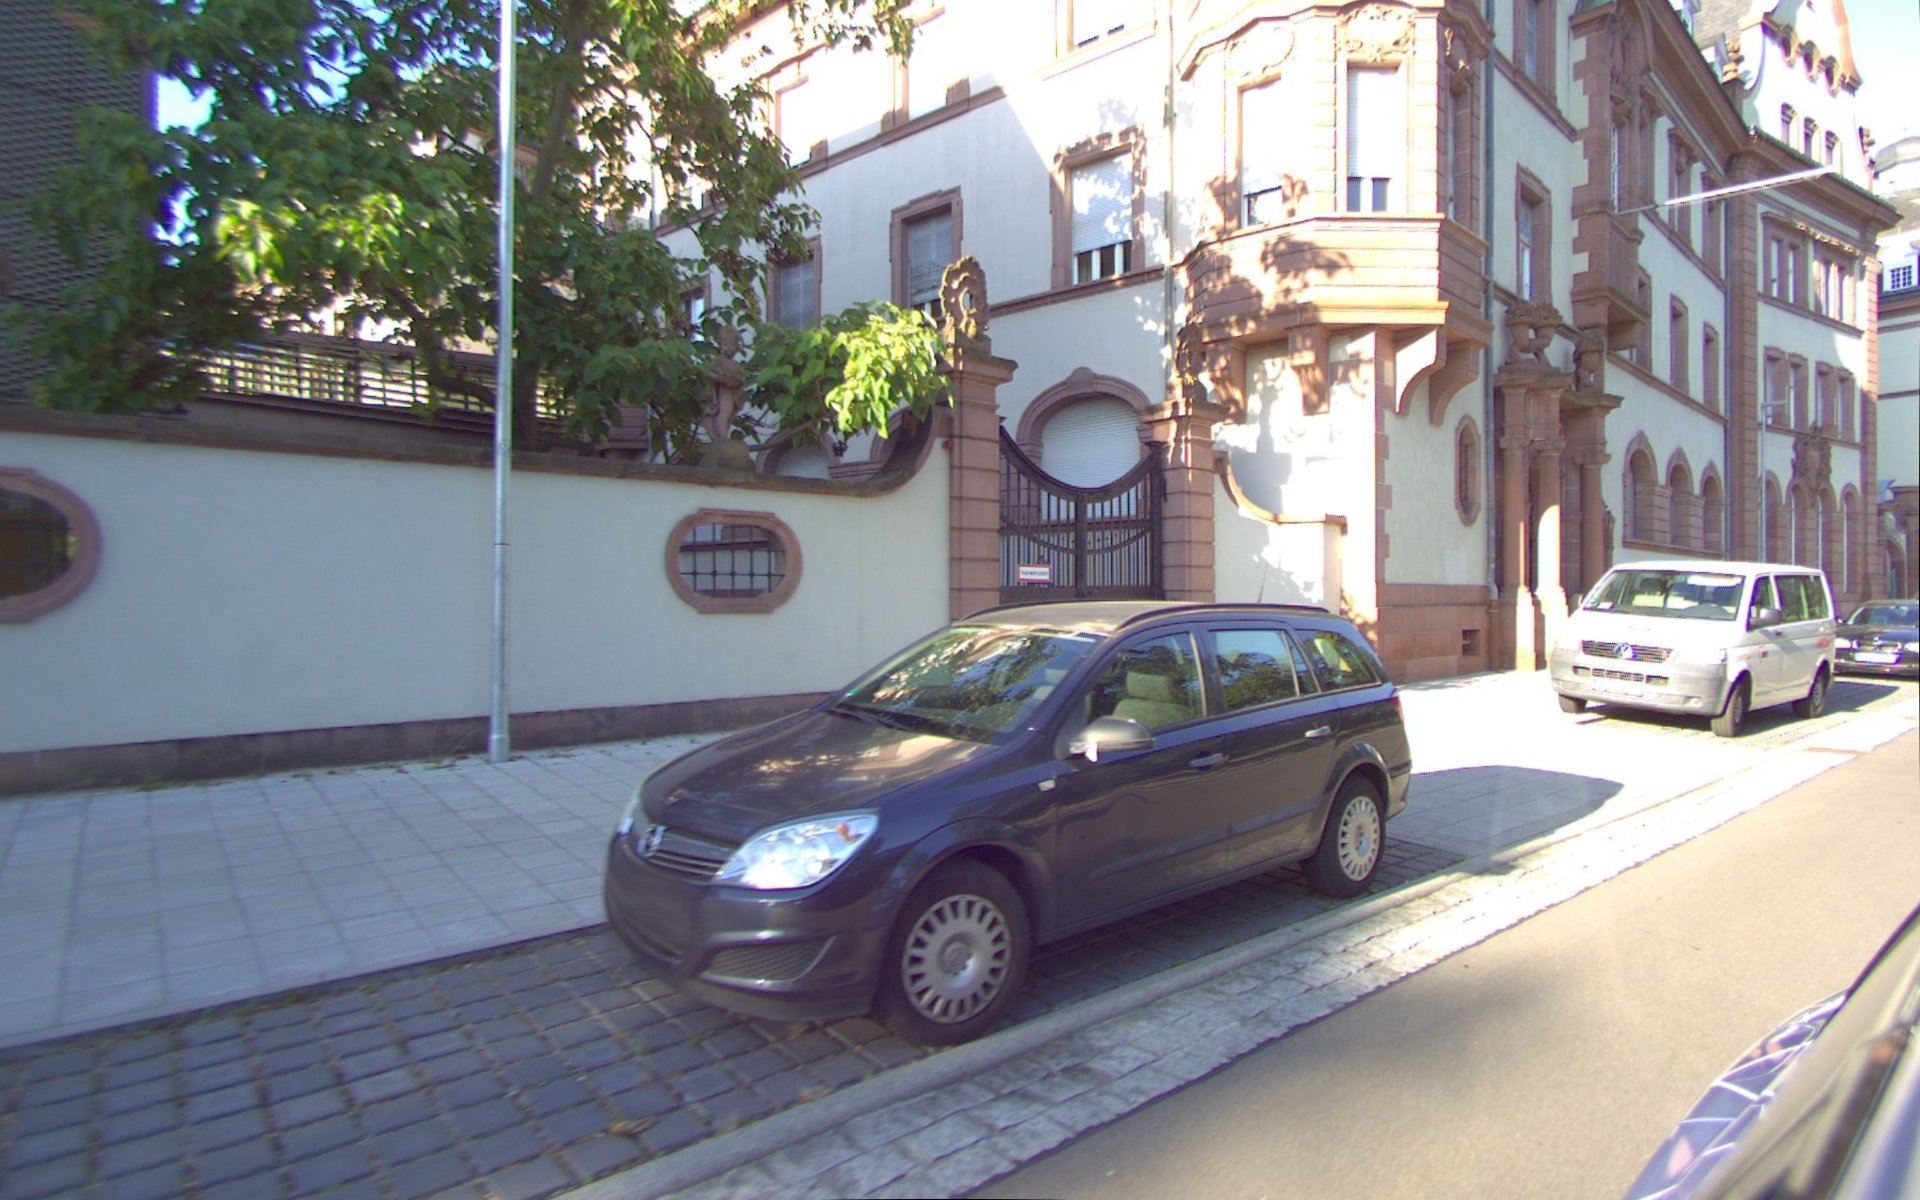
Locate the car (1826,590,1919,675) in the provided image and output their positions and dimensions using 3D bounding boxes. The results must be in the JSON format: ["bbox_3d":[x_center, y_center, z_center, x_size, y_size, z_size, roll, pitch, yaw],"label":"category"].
[{"bbox_3d":[17.862,0.544,18.915,4.122,1.420,1.684,-1,2,-37],"label":"car"}]

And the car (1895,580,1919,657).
[{"bbox_3d":[22.164,0.385,22.194,4.117,1.622,1.820,-1,2,-39],"label":"car"}]

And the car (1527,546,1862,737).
[{"bbox_3d":[9.384,0.401,12.802,4.758,1.990,2.000,0,3,-36],"label":"car"}]

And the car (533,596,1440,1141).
[{"bbox_3d":[0.471,0.738,4.931,4.399,1.485,1.751,-1,1,-41],"label":"car"}]
